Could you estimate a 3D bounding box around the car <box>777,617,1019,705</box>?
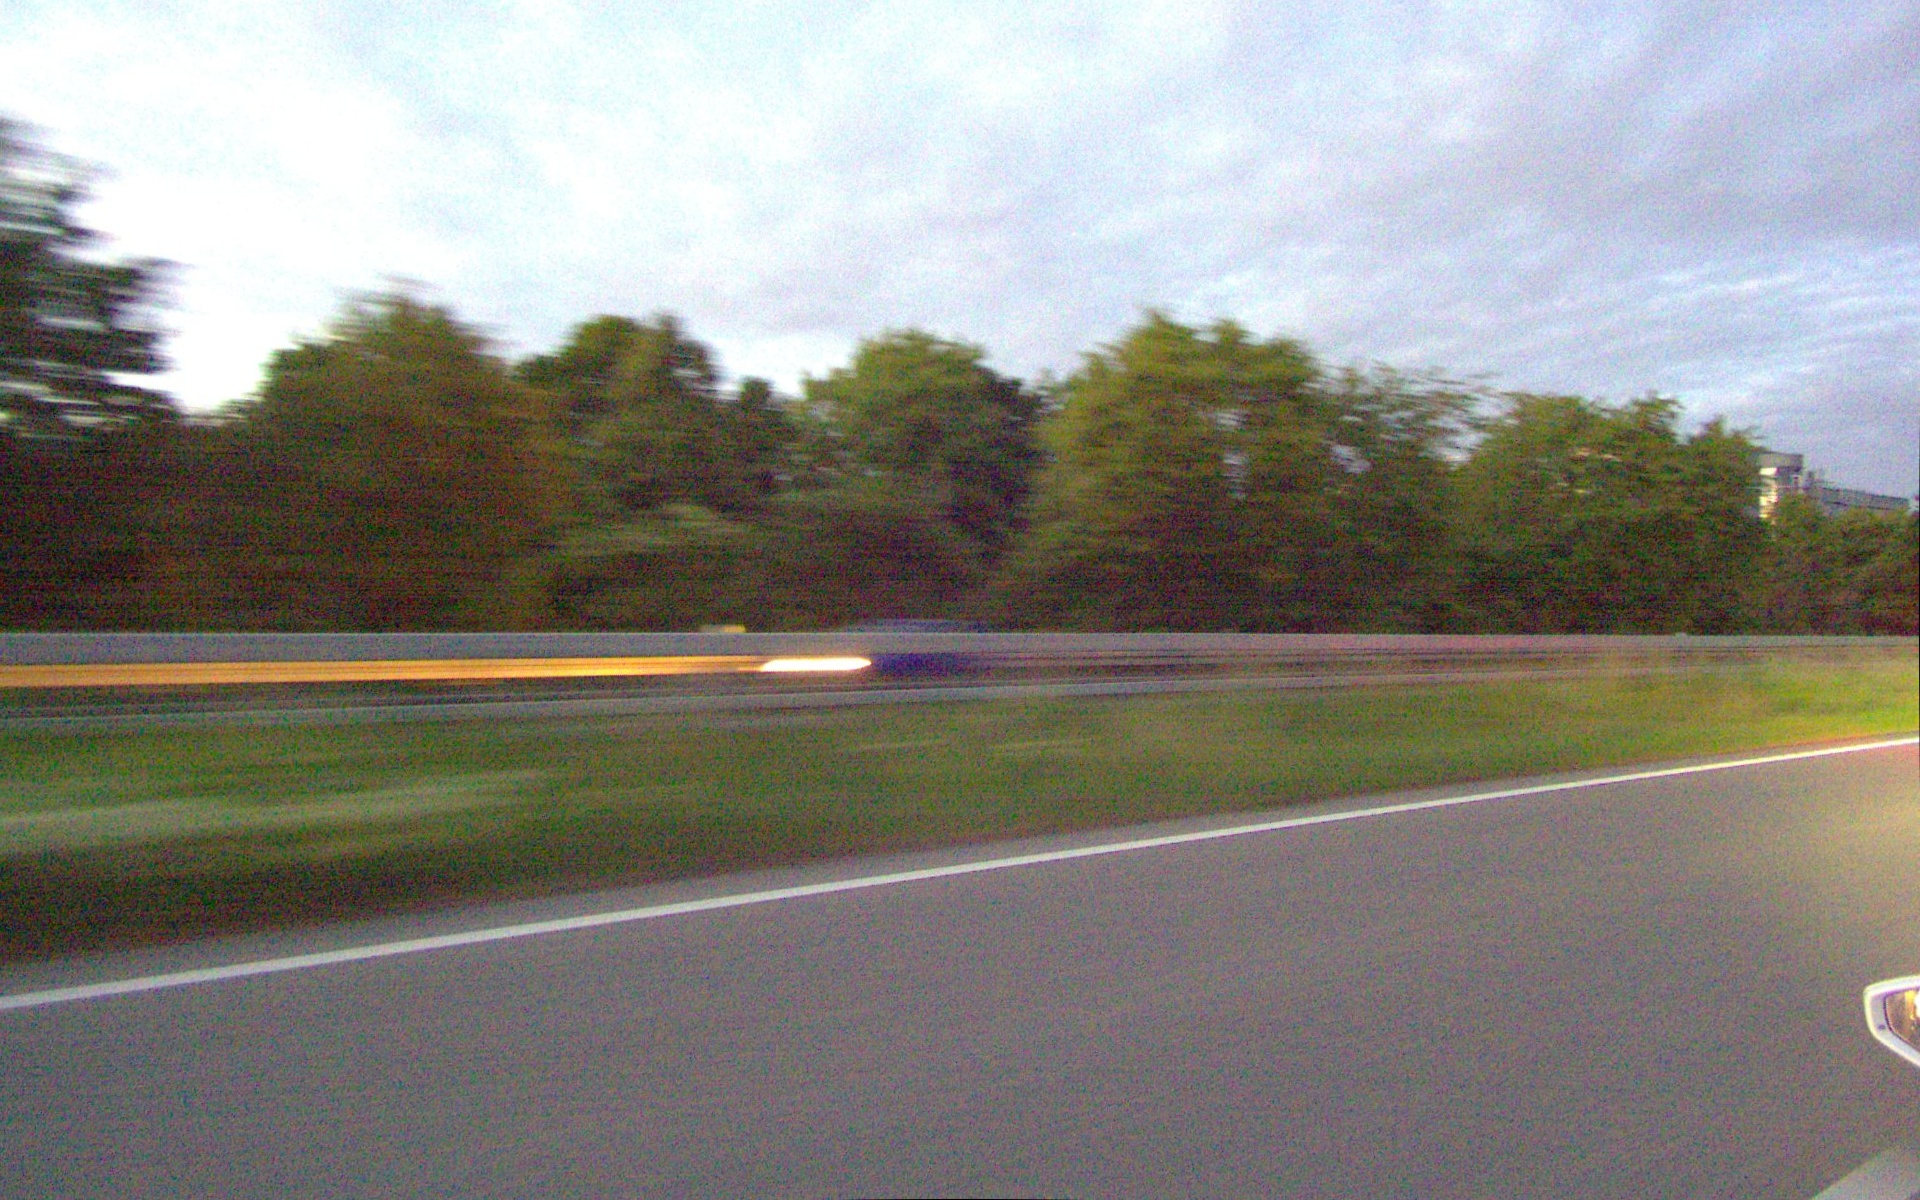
[{"bbox_3d":[-1.045,1.014,17.477,3.893,1.340,1.622,1,0,-30],"label":"car"}]
